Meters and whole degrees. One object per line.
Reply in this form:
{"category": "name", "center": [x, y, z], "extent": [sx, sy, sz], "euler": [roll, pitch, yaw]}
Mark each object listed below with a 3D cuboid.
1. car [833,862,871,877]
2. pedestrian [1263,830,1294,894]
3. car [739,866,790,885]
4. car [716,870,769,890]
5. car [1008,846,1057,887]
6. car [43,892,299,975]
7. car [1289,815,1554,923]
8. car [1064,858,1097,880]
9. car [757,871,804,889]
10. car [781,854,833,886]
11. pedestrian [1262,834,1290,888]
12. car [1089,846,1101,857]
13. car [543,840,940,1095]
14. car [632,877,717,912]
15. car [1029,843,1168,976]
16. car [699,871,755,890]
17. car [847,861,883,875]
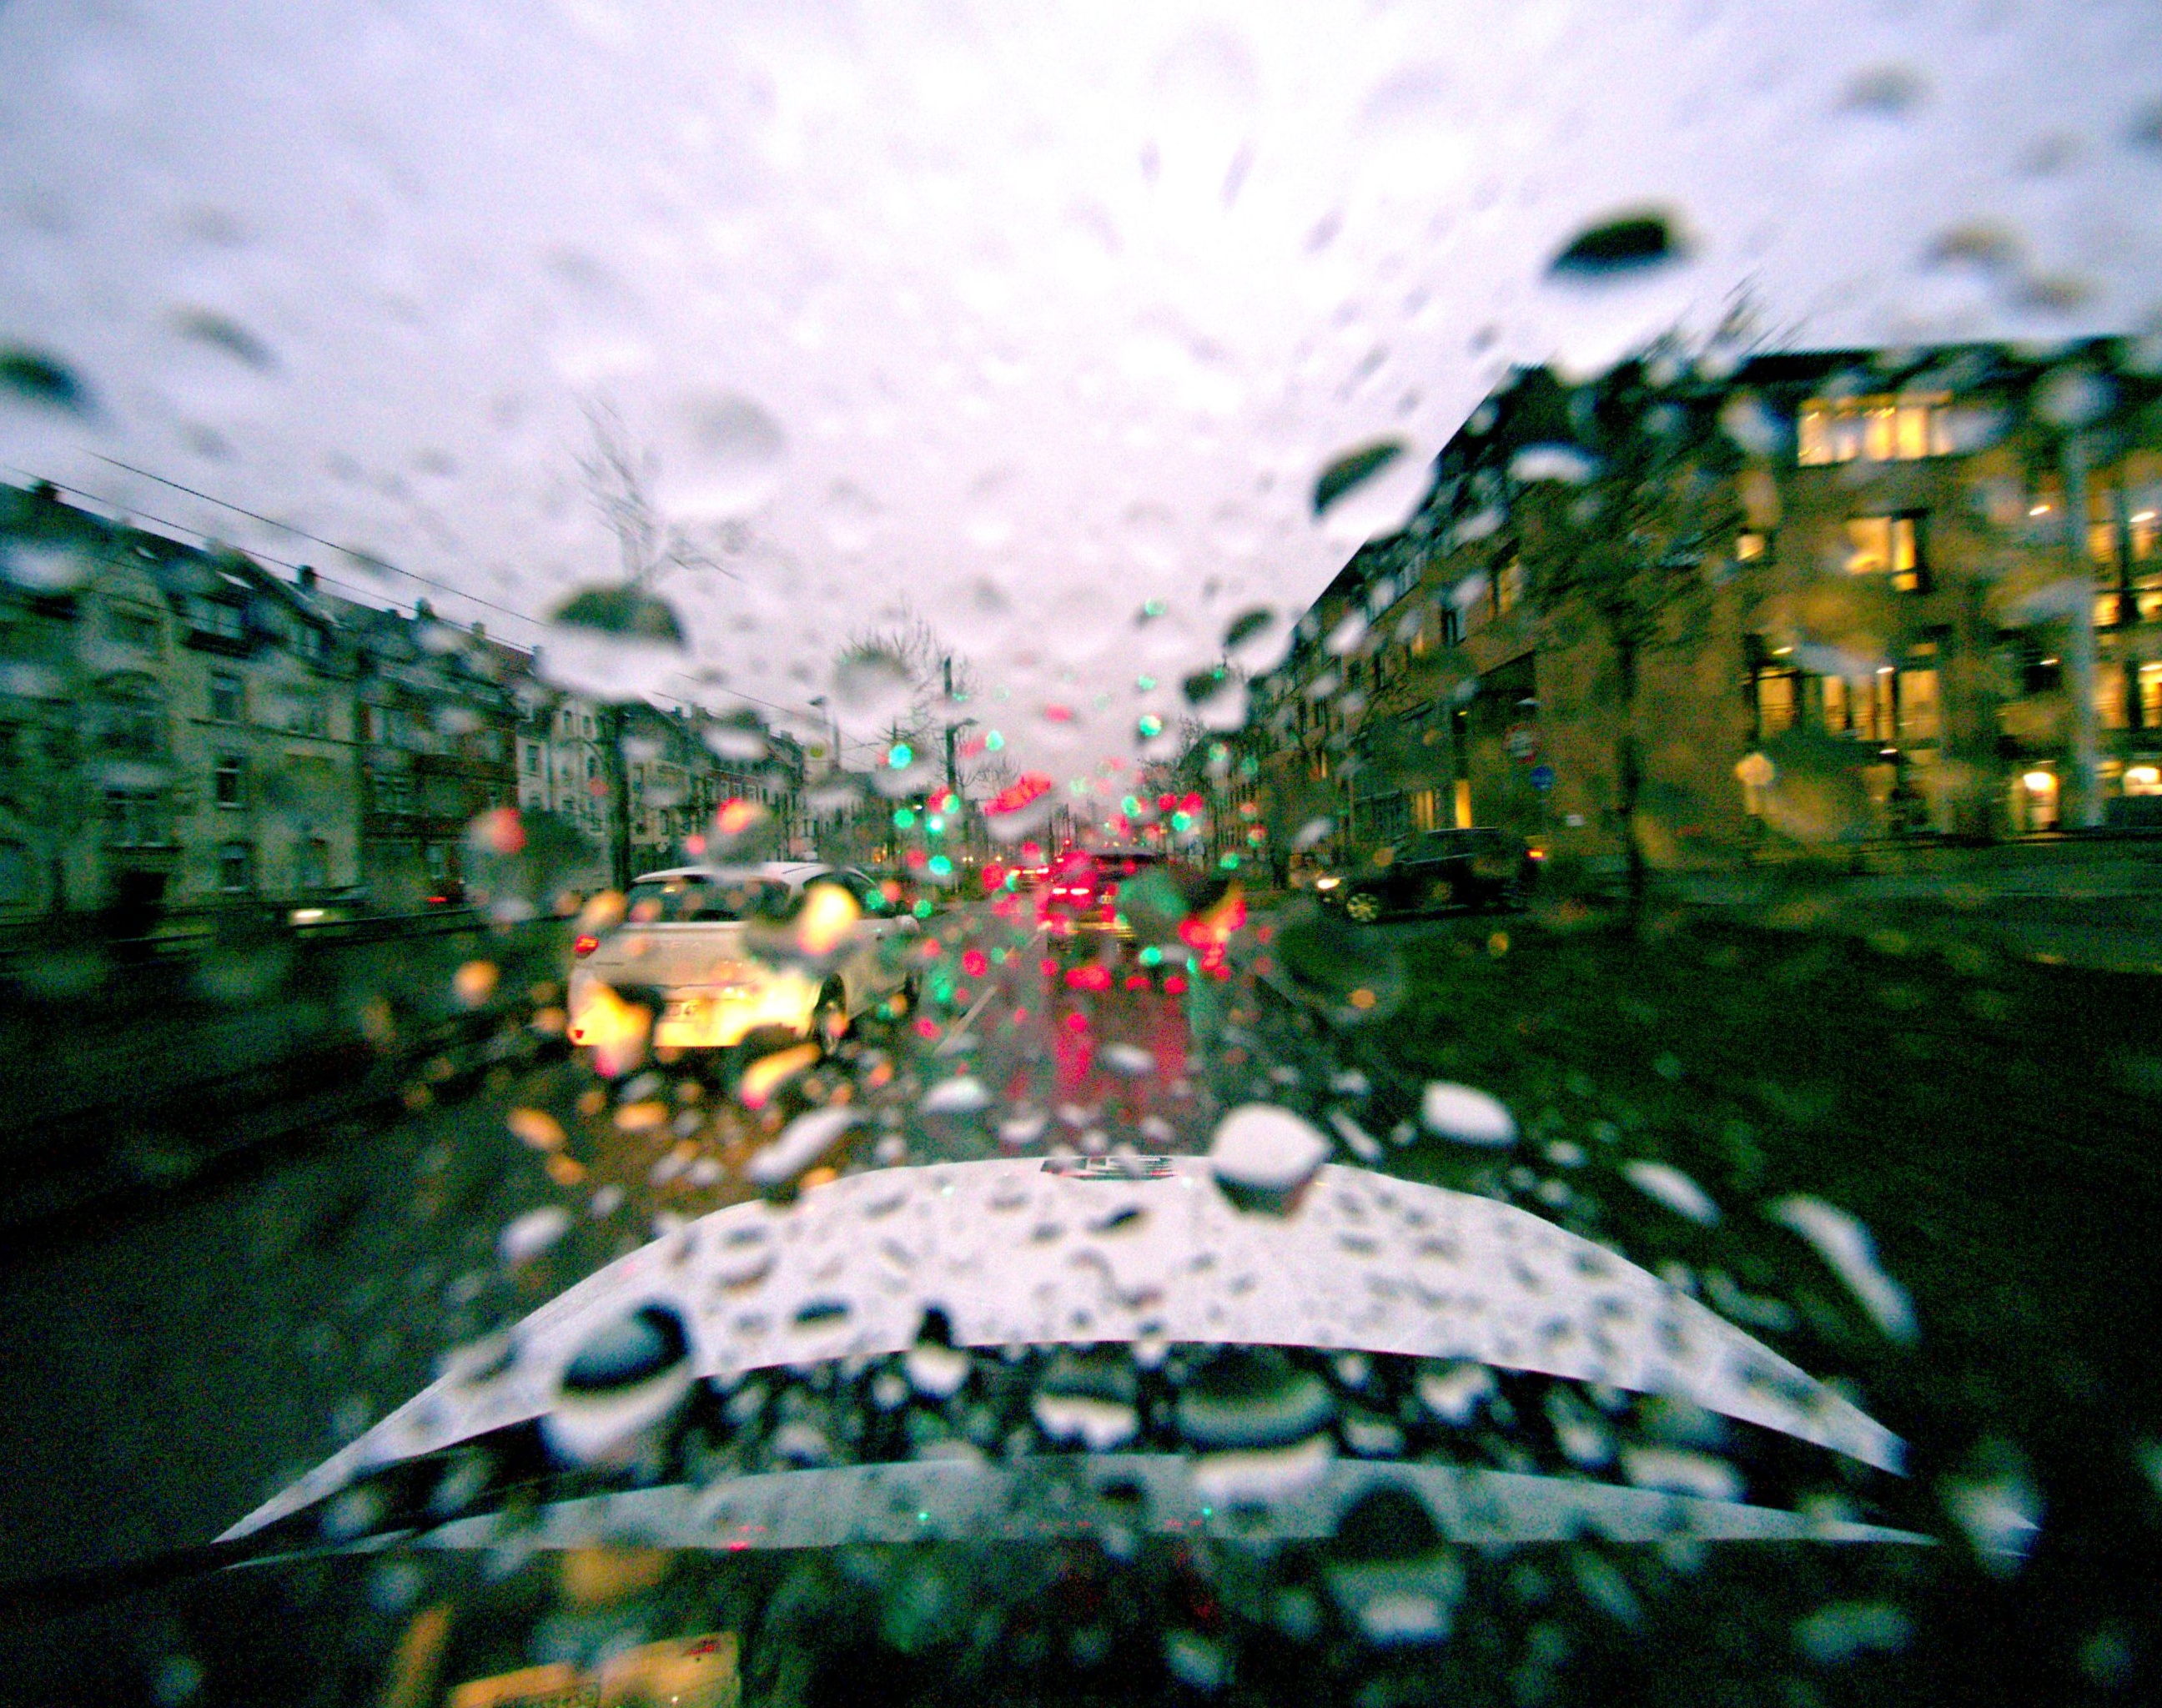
{"category": "car", "center": [-25.206, 1.706, 89.550], "extent": [3.948, 1.486, 2.013], "euler": [-3, 0, 36]}
{"category": "pedestrian", "center": [5.819, 0.228, 23.991], "extent": [0.506, 1.824, 0.652], "euler": [-3, 0, -24]}
{"category": "car", "center": [-25.855, 1.789, 66.413], "extent": [3.948, 1.332, 2.013], "euler": [-3, 0, 36]}
{"category": "car", "center": [-26.212, 2.044, 63.040], "extent": [3.948, 1.332, 2.013], "euler": [-3, 0, 37]}
{"category": "car", "center": [-1.985, 0.511, 34.511], "extent": [1.665, 1.600, 4.056], "euler": [-1, 0, 2]}
{"category": "car", "center": [-22.699, 1.906, 20.594], "extent": [1.857, 1.637, 4.002], "euler": [-2, 0, 2]}
{"category": "car", "center": [5.955, 0.256, 14.603], "extent": [3.971, 1.555, 1.744], "euler": [-4, 0, 3]}
{"category": "car", "center": [-0.017, 0.960, 54.063], "extent": [1.986, 1.298, 3.481], "euler": [-3, 0, 2]}
{"category": "car", "center": [-25.679, 2.251, 69.608], "extent": [3.948, 1.332, 2.013], "euler": [-3, 0, 39]}
{"category": "car", "center": [-25.840, 1.500, 76.711], "extent": [5.793, 2.797, 2.012], "euler": [-3, 0, 43]}
{"category": "pedestrian", "center": [6.345, 0.232, 26.526], "extent": [0.507, 1.742, 0.651], "euler": [-3, 0, -31]}
{"category": "car", "center": [2.462, -0.454, 145.157], "extent": [1.987, 1.914, 4.000], "euler": [-3, 0, 0]}
{"category": "car", "center": [-2.535, 0.726, 7.250], "extent": [1.665, 1.600, 4.056], "euler": [-1, 0, 2]}
{"category": "car", "center": [-21.045, 2.057, 42.381], "extent": [1.857, 1.453, 4.702], "euler": [-3, 0, 2]}
{"category": "car", "center": [0.293, 0.681, 12.069], "extent": [1.665, 1.600, 4.056], "euler": [-1, 0, 2]}
{"category": "car", "center": [-25.100, 1.872, 57.652], "extent": [3.948, 1.169, 2.013], "euler": [-3, 0, 40]}
{"category": "car", "center": [-24.554, 1.604, 92.636], "extent": [3.948, 1.332, 2.013], "euler": [-3, 0, 39]}
